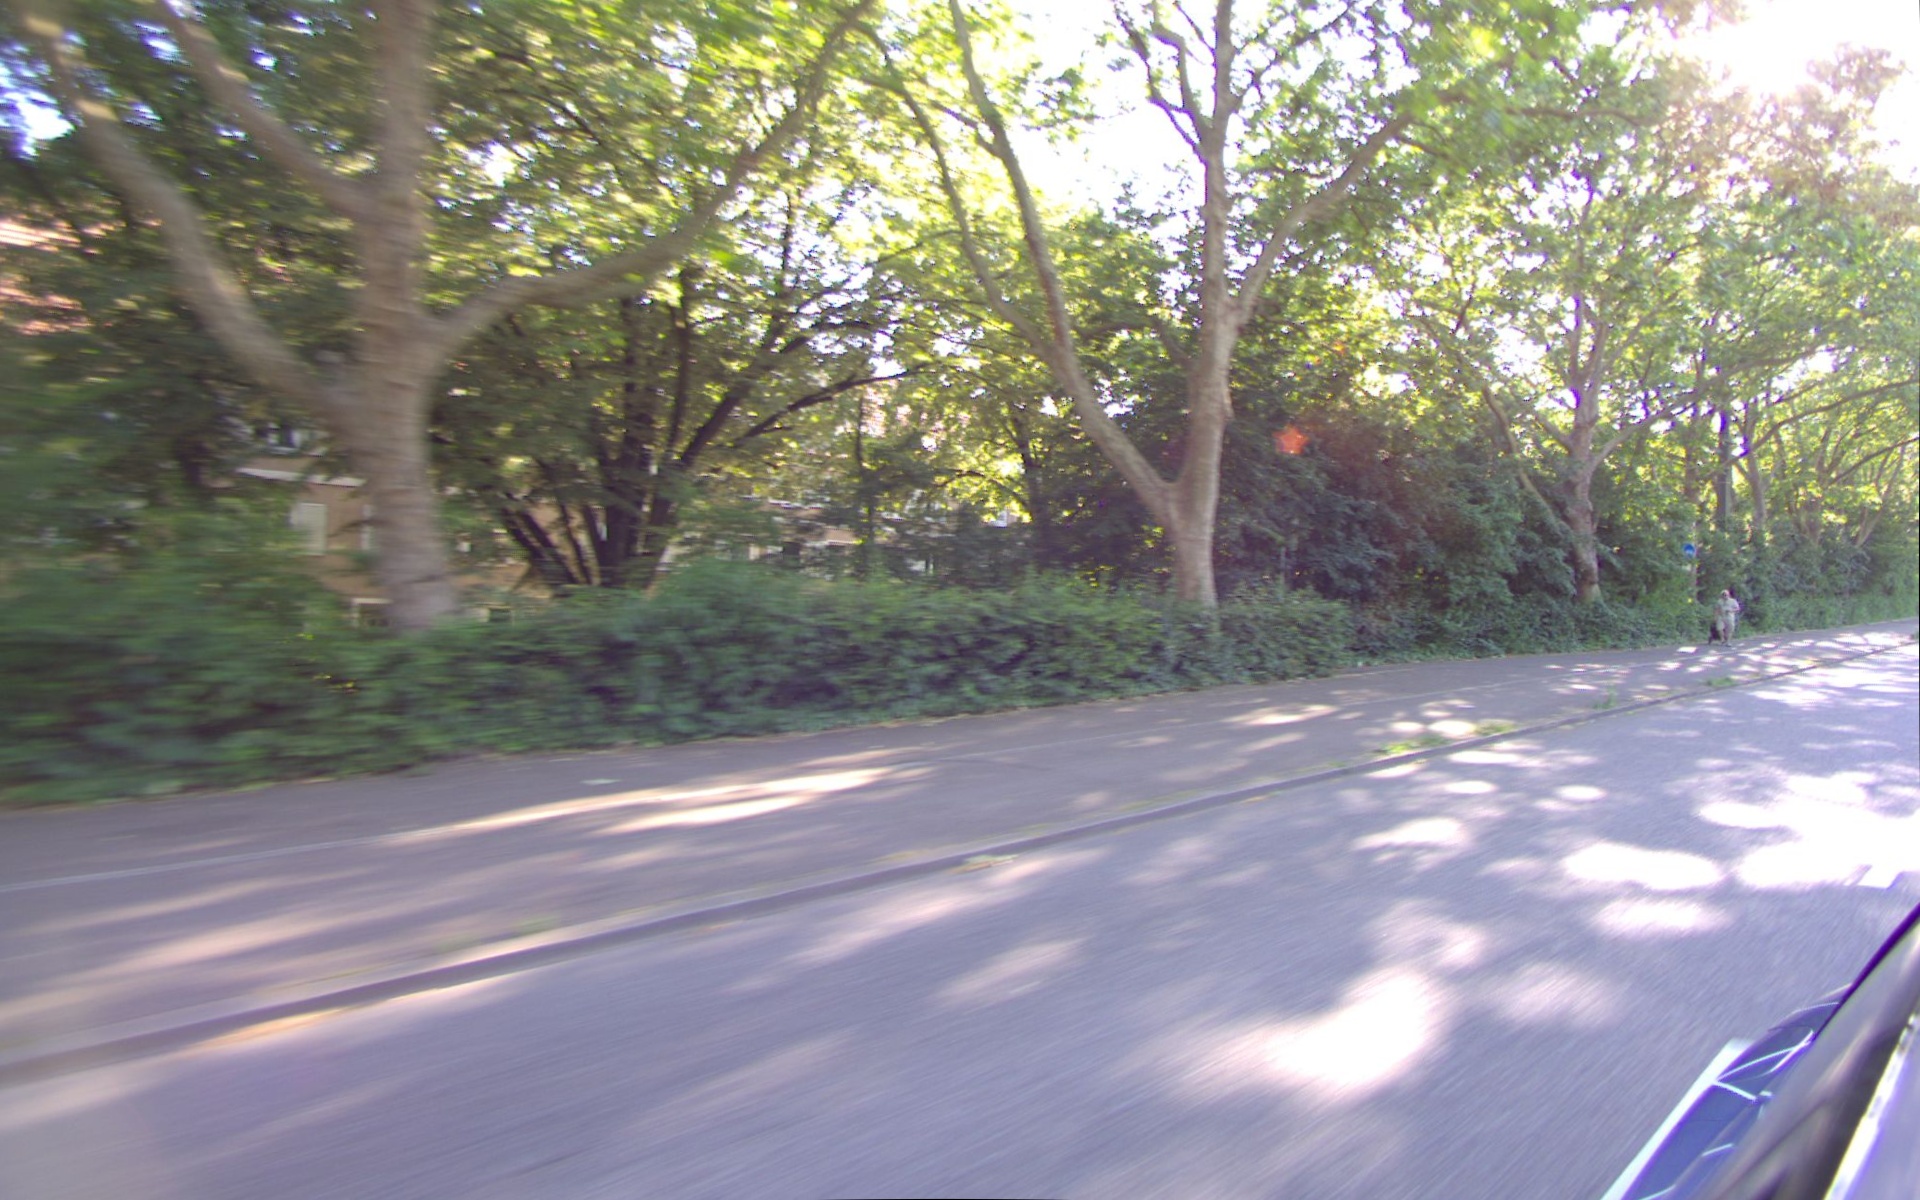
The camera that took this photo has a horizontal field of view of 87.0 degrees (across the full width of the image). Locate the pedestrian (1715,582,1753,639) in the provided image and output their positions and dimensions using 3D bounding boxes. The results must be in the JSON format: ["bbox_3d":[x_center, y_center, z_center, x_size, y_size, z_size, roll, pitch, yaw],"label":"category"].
[{"bbox_3d":[23.289,0.292,30.450,0.911,1.655,0.649,0,3,-41],"label":"pedestrian"}]
